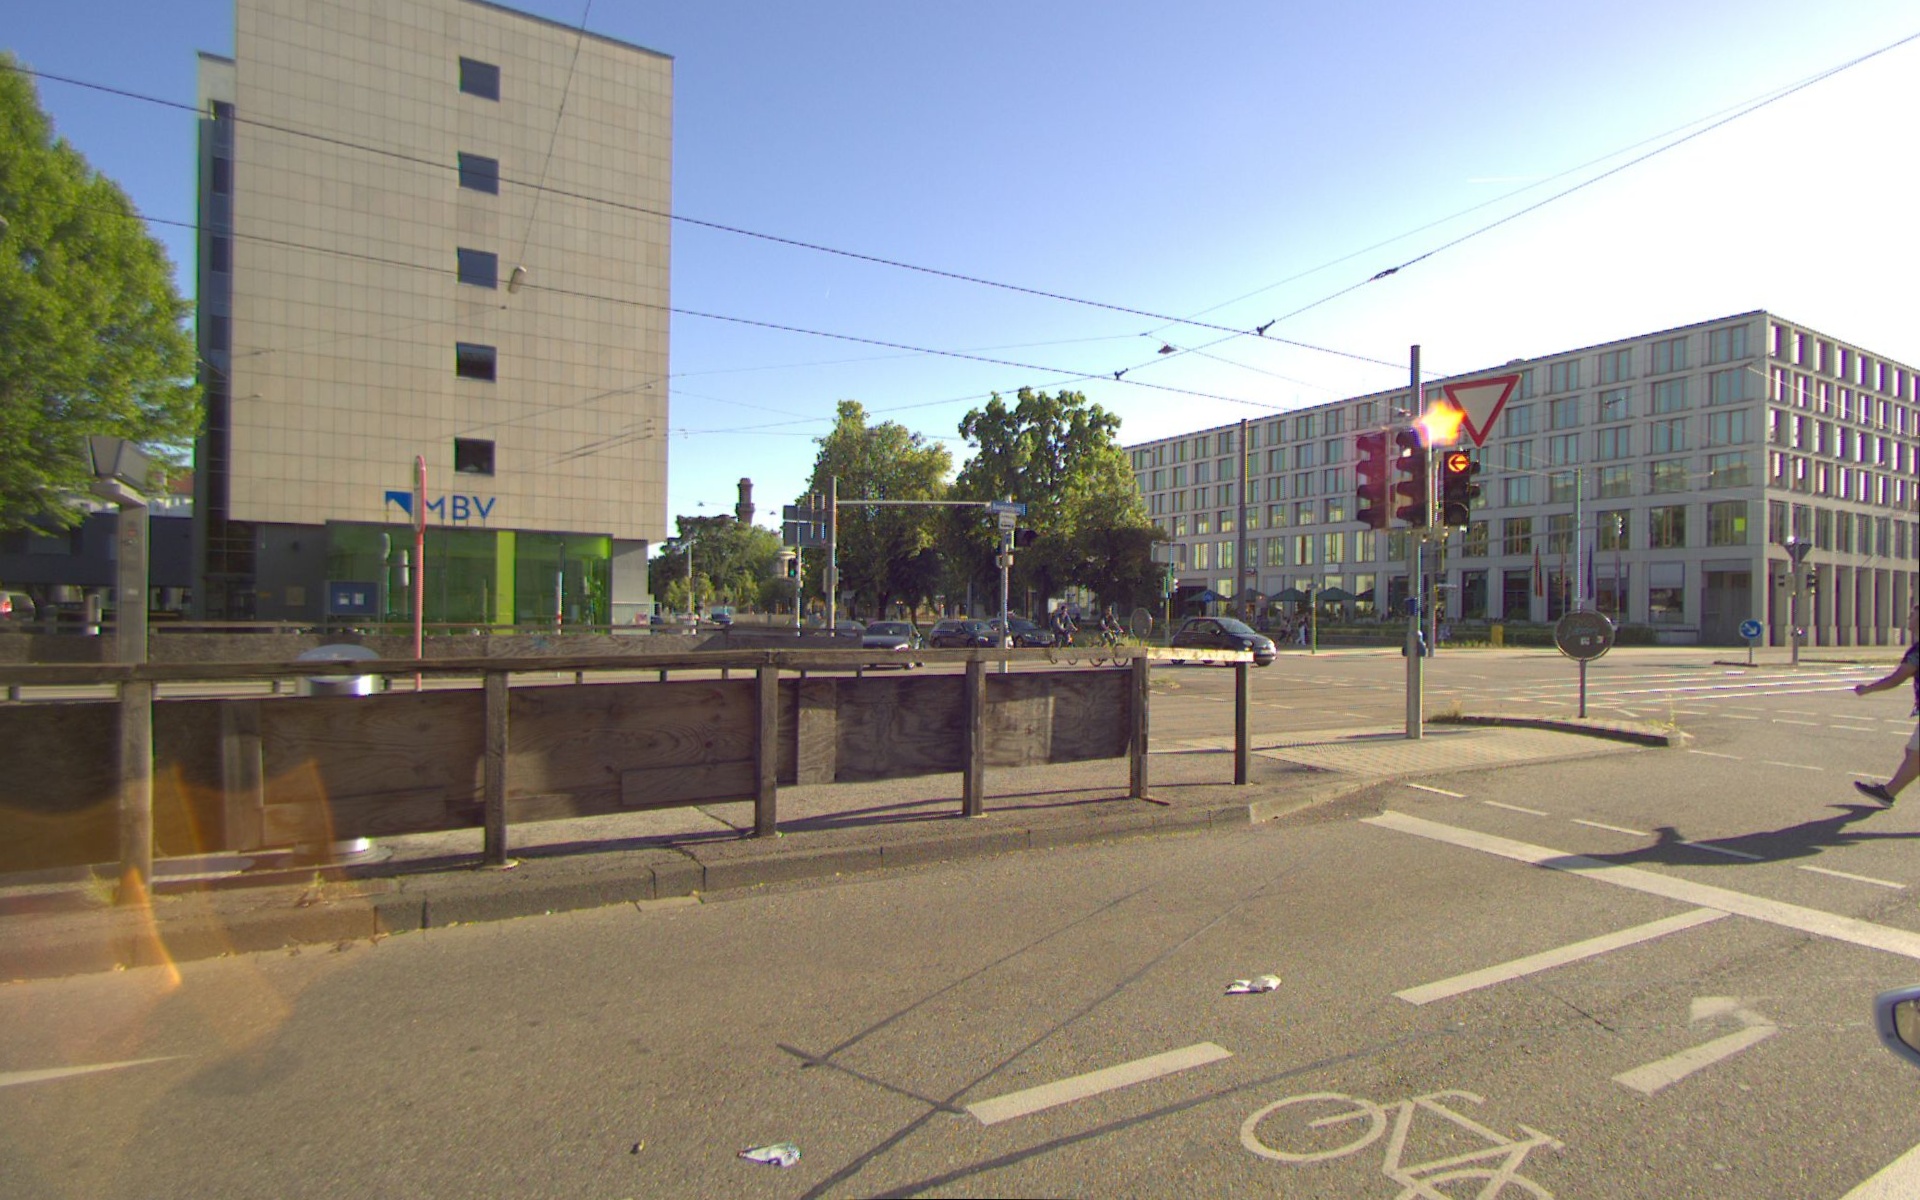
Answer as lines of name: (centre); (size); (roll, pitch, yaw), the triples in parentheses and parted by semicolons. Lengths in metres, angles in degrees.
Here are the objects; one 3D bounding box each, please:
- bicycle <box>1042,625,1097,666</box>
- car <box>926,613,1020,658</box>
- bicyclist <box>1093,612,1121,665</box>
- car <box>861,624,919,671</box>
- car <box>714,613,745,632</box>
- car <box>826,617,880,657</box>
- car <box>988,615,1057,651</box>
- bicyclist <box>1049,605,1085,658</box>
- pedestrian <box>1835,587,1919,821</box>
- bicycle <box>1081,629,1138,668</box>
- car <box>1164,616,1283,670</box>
bicycle: (3.584, 1.478, 32.961); (0.874, 1.305, 2.042); (1, -1, -24)
car: (0.479, 1.465, 43.006); (1.910, 1.679, 4.878); (0, 1, -29)
bicyclist: (4.465, 1.158, 30.457); (0.586, 1.603, 0.617); (1, -1, -24)
car: (-2.049, 1.393, 30.088); (1.441, 1.311, 3.230); (-1, -1, 1)
car: (-19.663, 1.941, 85.617); (1.505, 1.526, 3.511); (1, 0, -32)
car: (-4.479, 1.525, 42.515); (1.745, 1.615, 4.287); (0, -1, 1)
car: (2.886, 1.532, 47.139); (1.505, 1.526, 3.511); (1, 0, -32)
bicyclist: (3.513, 1.037, 33.127); (0.833, 1.717, 0.887); (1, -1, -24)
pedestrian: (7.592, 0.789, 7.840); (1.027, 1.743, 1.030); (1, -1, -41)
bicycle: (4.499, 1.451, 30.375); (0.779, 1.137, 1.918); (1, -1, -24)
car: (8.140, 1.295, 31.276); (1.505, 1.526, 3.511); (1, 0, -32)
